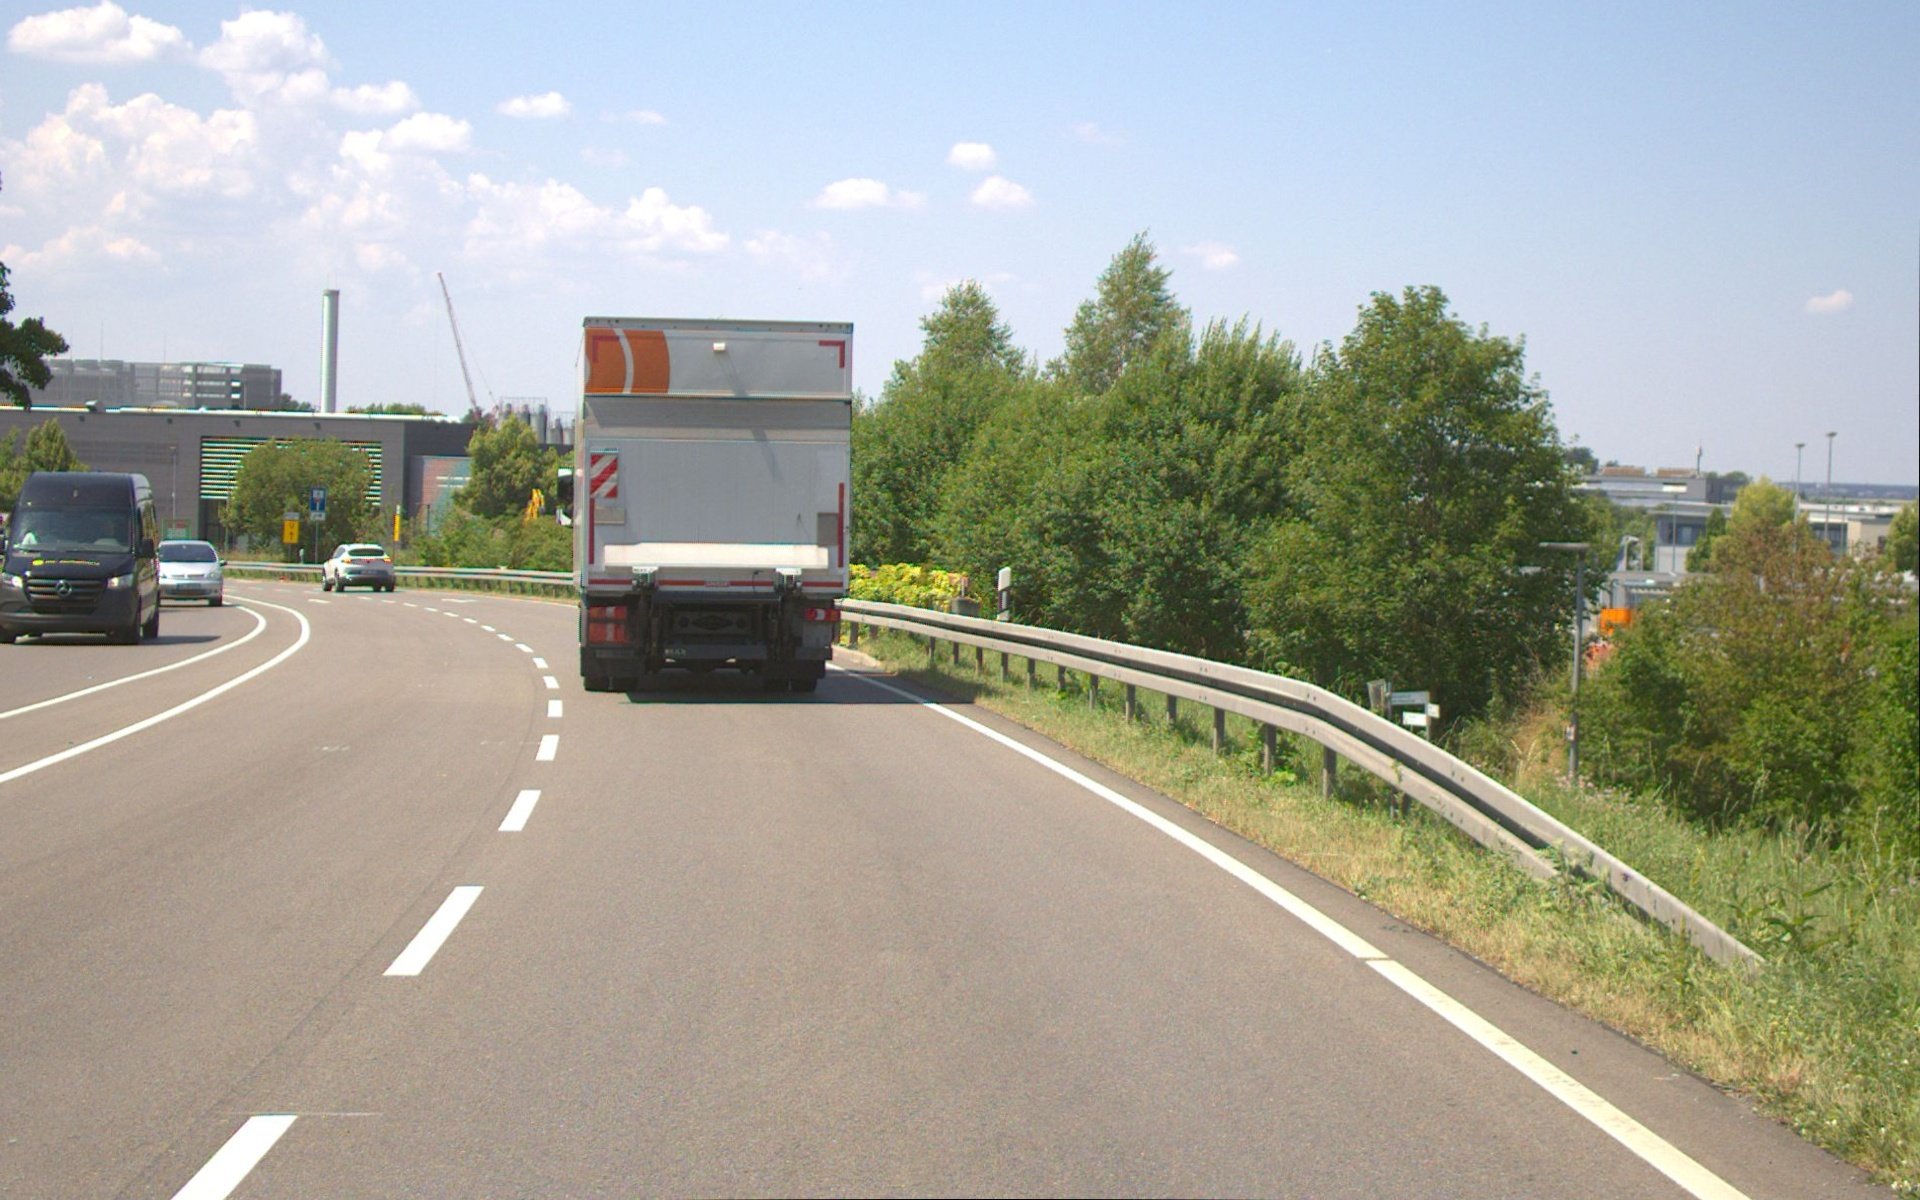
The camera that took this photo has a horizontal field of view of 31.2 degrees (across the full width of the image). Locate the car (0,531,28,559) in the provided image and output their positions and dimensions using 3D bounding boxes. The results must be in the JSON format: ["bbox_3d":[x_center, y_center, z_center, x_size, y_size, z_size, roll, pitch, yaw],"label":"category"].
[{"bbox_3d":[-65.380,-3.714,231.708,4.744,1.925,2.154,0,1,-8],"label":"car"}]

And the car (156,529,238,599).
[{"bbox_3d":[-18.554,-0.889,83.627,1.836,1.587,4.818,2,1,-13],"label":"car"}]

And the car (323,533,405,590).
[{"bbox_3d":[-18.918,-1.220,108.955,1.943,1.658,4.001,3,0,-18],"label":"car"}]

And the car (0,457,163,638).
[{"bbox_3d":[-13.449,-0.797,52.074,2.187,2.532,6.038,2,1,-9],"label":"car"}]

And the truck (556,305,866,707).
[{"bbox_3d":[-2.851,-0.970,36.616,2.803,3.698,9.110,1,1,-7],"label":"truck"}]
